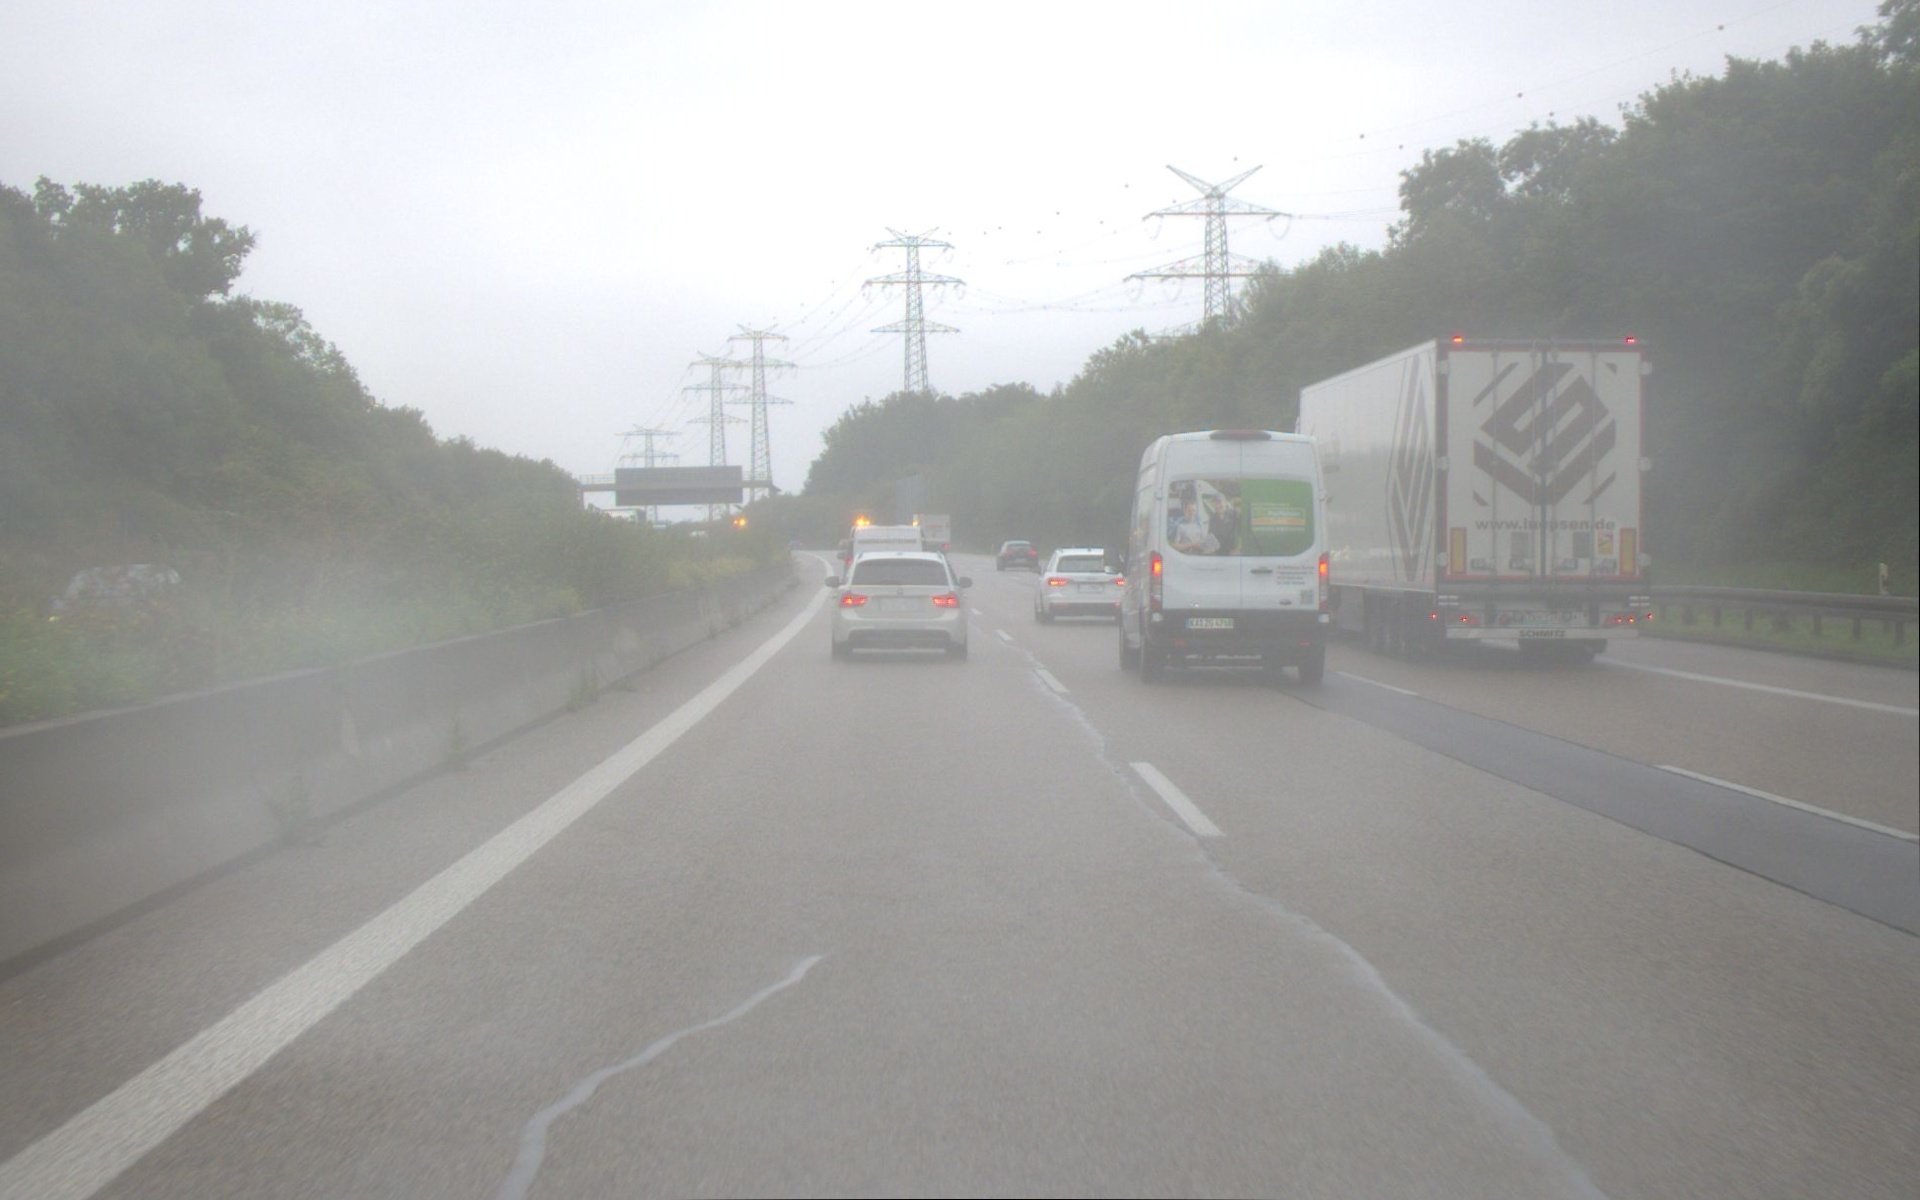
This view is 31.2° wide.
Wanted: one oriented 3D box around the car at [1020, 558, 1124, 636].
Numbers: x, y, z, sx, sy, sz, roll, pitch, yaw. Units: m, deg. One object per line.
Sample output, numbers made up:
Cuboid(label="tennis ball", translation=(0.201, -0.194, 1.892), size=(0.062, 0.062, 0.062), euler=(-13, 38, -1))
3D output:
Cuboid(label="car", translation=(2.136, -0.081, 64.534), size=(1.857, 1.418, 4.000), euler=(0, 1, 3))

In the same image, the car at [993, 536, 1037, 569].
Cuboid(label="car", translation=(2.633, -2.265, 164.180), size=(1.993, 1.481, 4.000), euler=(-3, 0, 2))

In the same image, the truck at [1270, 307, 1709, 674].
Cuboid(label="truck", translation=(6.861, -1.346, 47.268), size=(3.603, 4.317, 13.200), euler=(-1, 0, -2))

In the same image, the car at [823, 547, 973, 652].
Cuboid(label="car", translation=(-0.778, -0.041, 45.406), size=(1.866, 1.284, 4.000), euler=(-1, 1, 0))

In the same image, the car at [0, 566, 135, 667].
Cuboid(label="car", translation=(-13.985, 0.229, 52.421), size=(1.875, 1.448, 4.000), euler=(-1, 1, -1))

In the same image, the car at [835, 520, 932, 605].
Cuboid(label="car", translation=(-1.647, -0.829, 75.475), size=(1.846, 1.766, 4.000), euler=(-1, 1, 2))

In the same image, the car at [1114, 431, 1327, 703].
Cuboid(label="car", translation=(2.873, -0.384, 38.732), size=(1.993, 2.854, 4.000), euler=(-1, 1, -1))
